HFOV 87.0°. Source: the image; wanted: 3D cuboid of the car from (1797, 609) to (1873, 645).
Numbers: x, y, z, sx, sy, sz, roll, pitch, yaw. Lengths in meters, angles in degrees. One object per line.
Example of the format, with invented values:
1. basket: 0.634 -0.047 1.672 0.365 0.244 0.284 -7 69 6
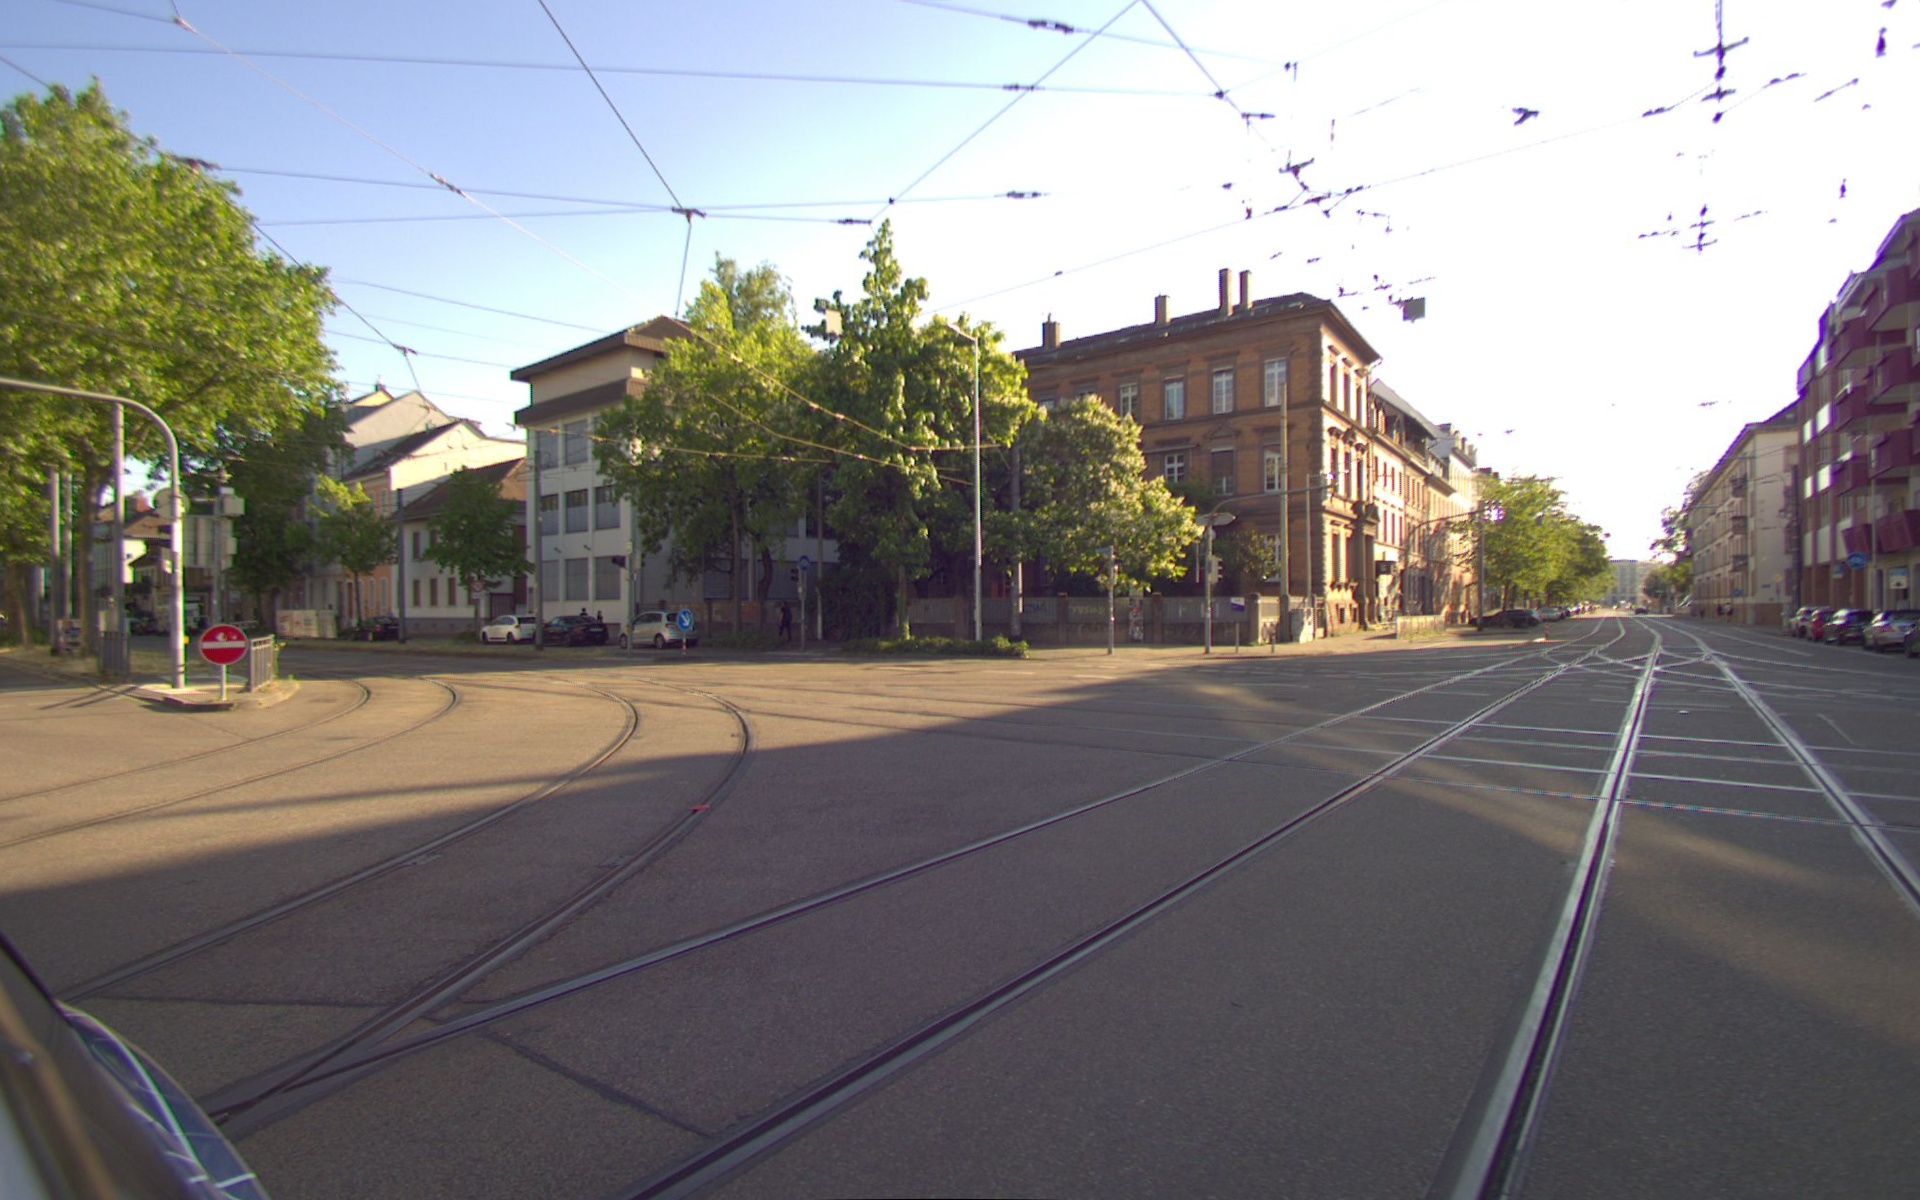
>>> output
1. car: 39.630 1.197 45.946 1.994 1.567 4.533 -1 -1 33

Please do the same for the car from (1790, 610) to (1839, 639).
1. car: 42.200 1.198 50.030 1.457 1.343 3.146 -1 -1 34

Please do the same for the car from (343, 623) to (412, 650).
1. car: -35.287 2.195 61.260 4.574 1.481 2.062 -1 2 38

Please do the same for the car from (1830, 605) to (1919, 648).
1. car: 35.285 1.001 39.048 1.994 1.567 4.533 -1 -1 33

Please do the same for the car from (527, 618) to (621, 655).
1. car: -17.870 1.666 46.755 4.452 1.513 2.062 -1 2 38

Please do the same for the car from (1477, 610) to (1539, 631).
1. car: 41.449 1.560 76.535 3.987 1.586 1.978 -1 -1 33

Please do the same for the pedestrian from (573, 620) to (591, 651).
1. pedestrian: -18.994 1.779 50.843 0.710 1.540 0.531 -1 -1 34

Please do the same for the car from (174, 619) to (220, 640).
1. car: -66.514 2.524 88.185 4.527 1.686 2.062 -1 2 38

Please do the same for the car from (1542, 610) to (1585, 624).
1. car: 60.566 1.711 101.561 3.543 1.412 1.679 -1 -1 36

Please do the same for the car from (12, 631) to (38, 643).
1. car: -132.847 5.209 143.721 4.115 1.551 2.062 -1 2 38

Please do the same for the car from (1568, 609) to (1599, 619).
1. car: 85.404 1.922 138.695 3.543 1.412 1.679 -1 1 36

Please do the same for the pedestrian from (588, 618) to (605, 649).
1. pedestrian: -18.504 1.691 51.580 0.711 1.540 0.530 -1 -1 40

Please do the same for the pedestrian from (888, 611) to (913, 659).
1. pedestrian: -2.128 1.264 36.291 0.631 1.677 0.562 -1 1 39

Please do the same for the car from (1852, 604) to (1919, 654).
1. car: 31.496 0.933 33.725 1.994 1.567 4.533 -1 -1 33

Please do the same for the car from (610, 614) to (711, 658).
1. car: -12.603 1.477 42.487 4.093 1.631 2.062 -1 2 38

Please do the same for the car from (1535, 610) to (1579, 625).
1. car: 58.508 1.695 99.184 3.543 1.412 1.679 -1 1 36

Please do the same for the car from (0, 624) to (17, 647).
1. car: -77.232 2.849 81.091 3.998 1.785 1.973 -1 1 41

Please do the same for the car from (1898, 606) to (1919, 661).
1. car: 28.165 0.936 28.400 1.994 1.567 4.077 -1 -1 33

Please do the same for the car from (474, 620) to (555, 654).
1. car: -22.254 1.831 50.493 3.992 1.501 2.062 -1 2 38

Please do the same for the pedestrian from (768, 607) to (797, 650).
1. pedestrian: -7.427 1.179 42.364 1.018 1.765 0.727 -1 -1 39
